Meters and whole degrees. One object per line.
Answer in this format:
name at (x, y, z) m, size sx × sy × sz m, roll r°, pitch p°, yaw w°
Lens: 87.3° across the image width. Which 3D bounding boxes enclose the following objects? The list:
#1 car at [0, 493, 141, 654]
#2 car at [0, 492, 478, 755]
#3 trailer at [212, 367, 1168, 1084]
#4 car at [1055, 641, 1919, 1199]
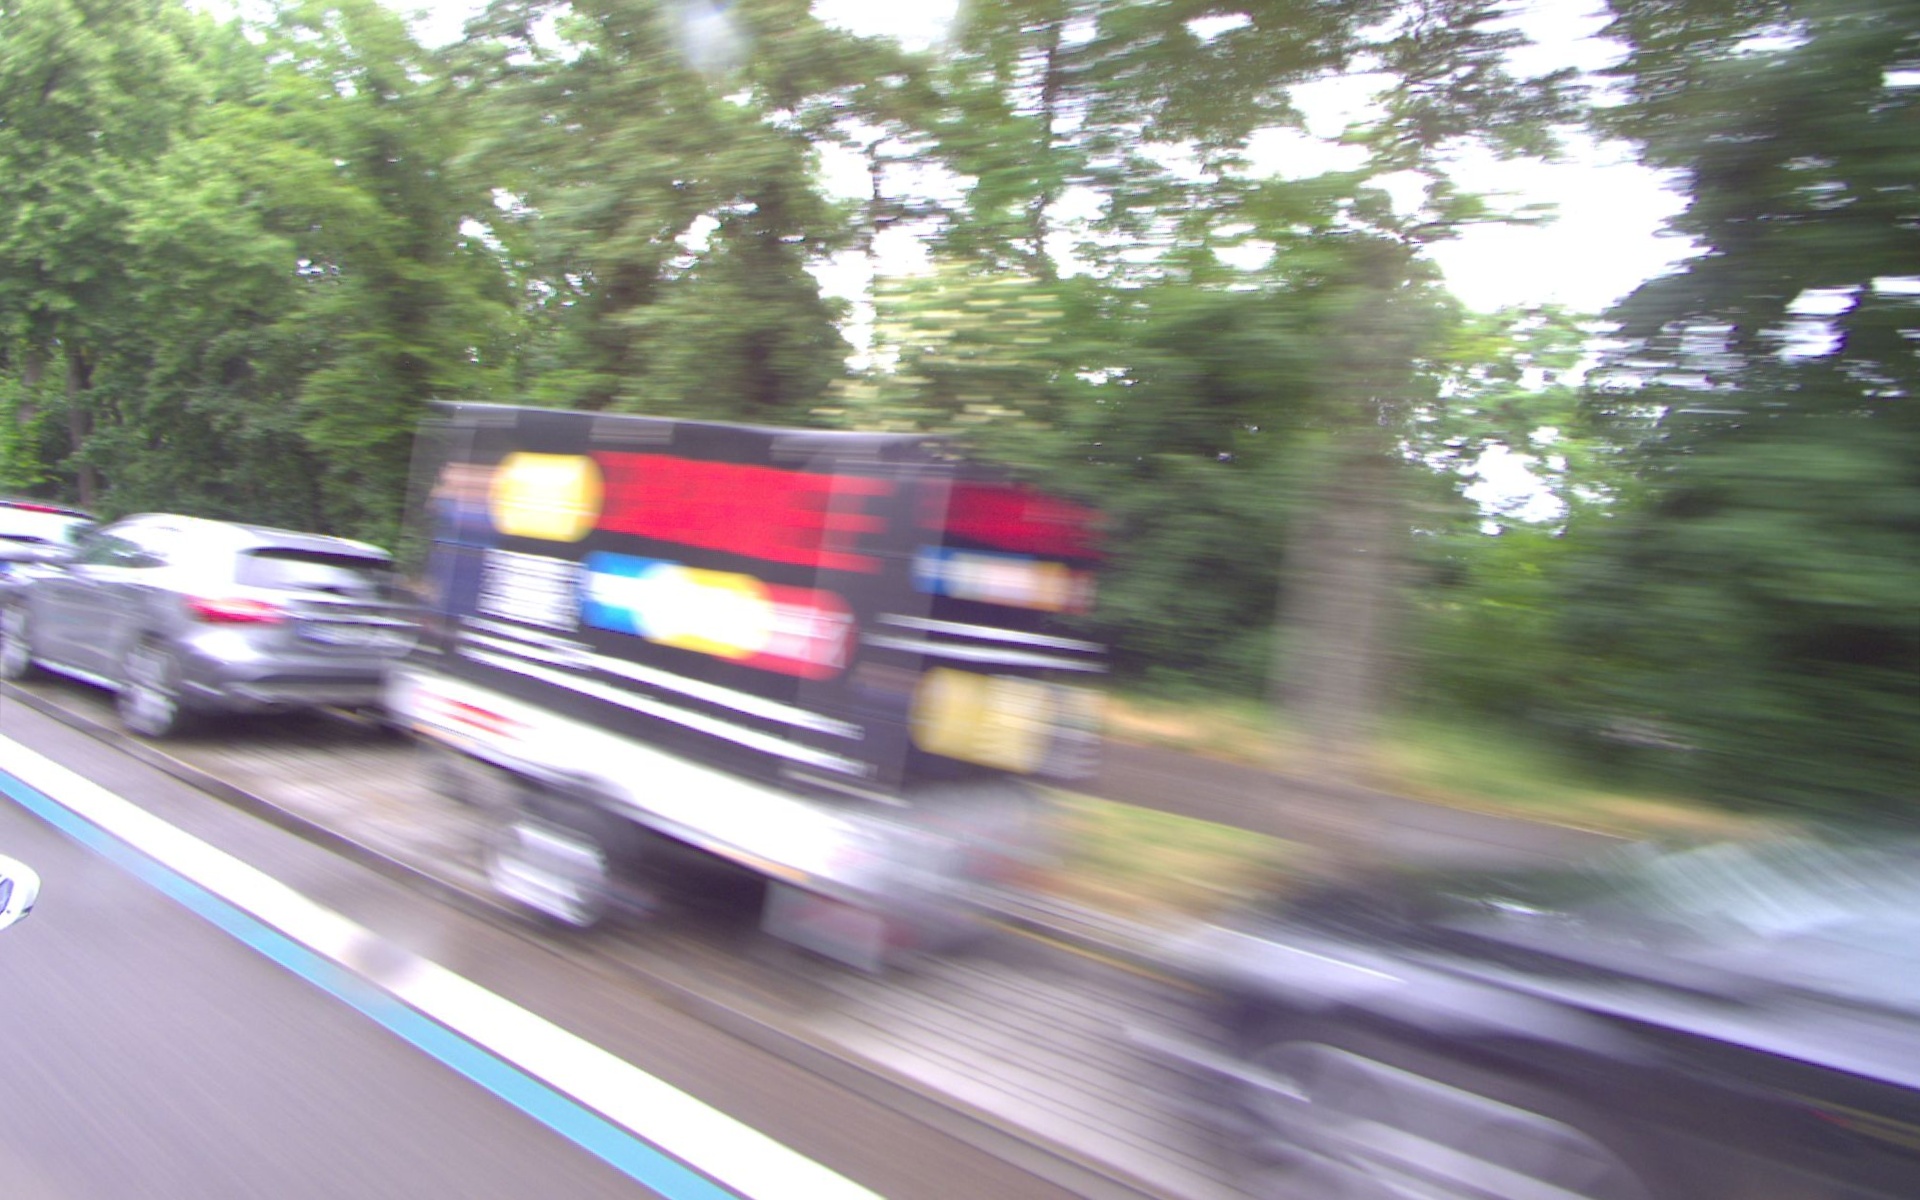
car at (-10.774, -0.440, 10.976) m, size 3.935 × 1.487 × 1.618 m, roll 7°, pitch -2°, yaw 33°
car at (-6.077, 0.083, 8.104) m, size 4.355 × 1.468 × 1.798 m, roll 7°, pitch -1°, yaw 32°
trailer at (-1.609, 0.249, 5.229) m, size 4.689 × 2.274 × 1.909 m, roll 7°, pitch -1°, yaw 32°
car at (2.583, 1.176, 2.630) m, size 4.128 × 1.502 × 1.828 m, roll 7°, pitch -3°, yaw 30°
